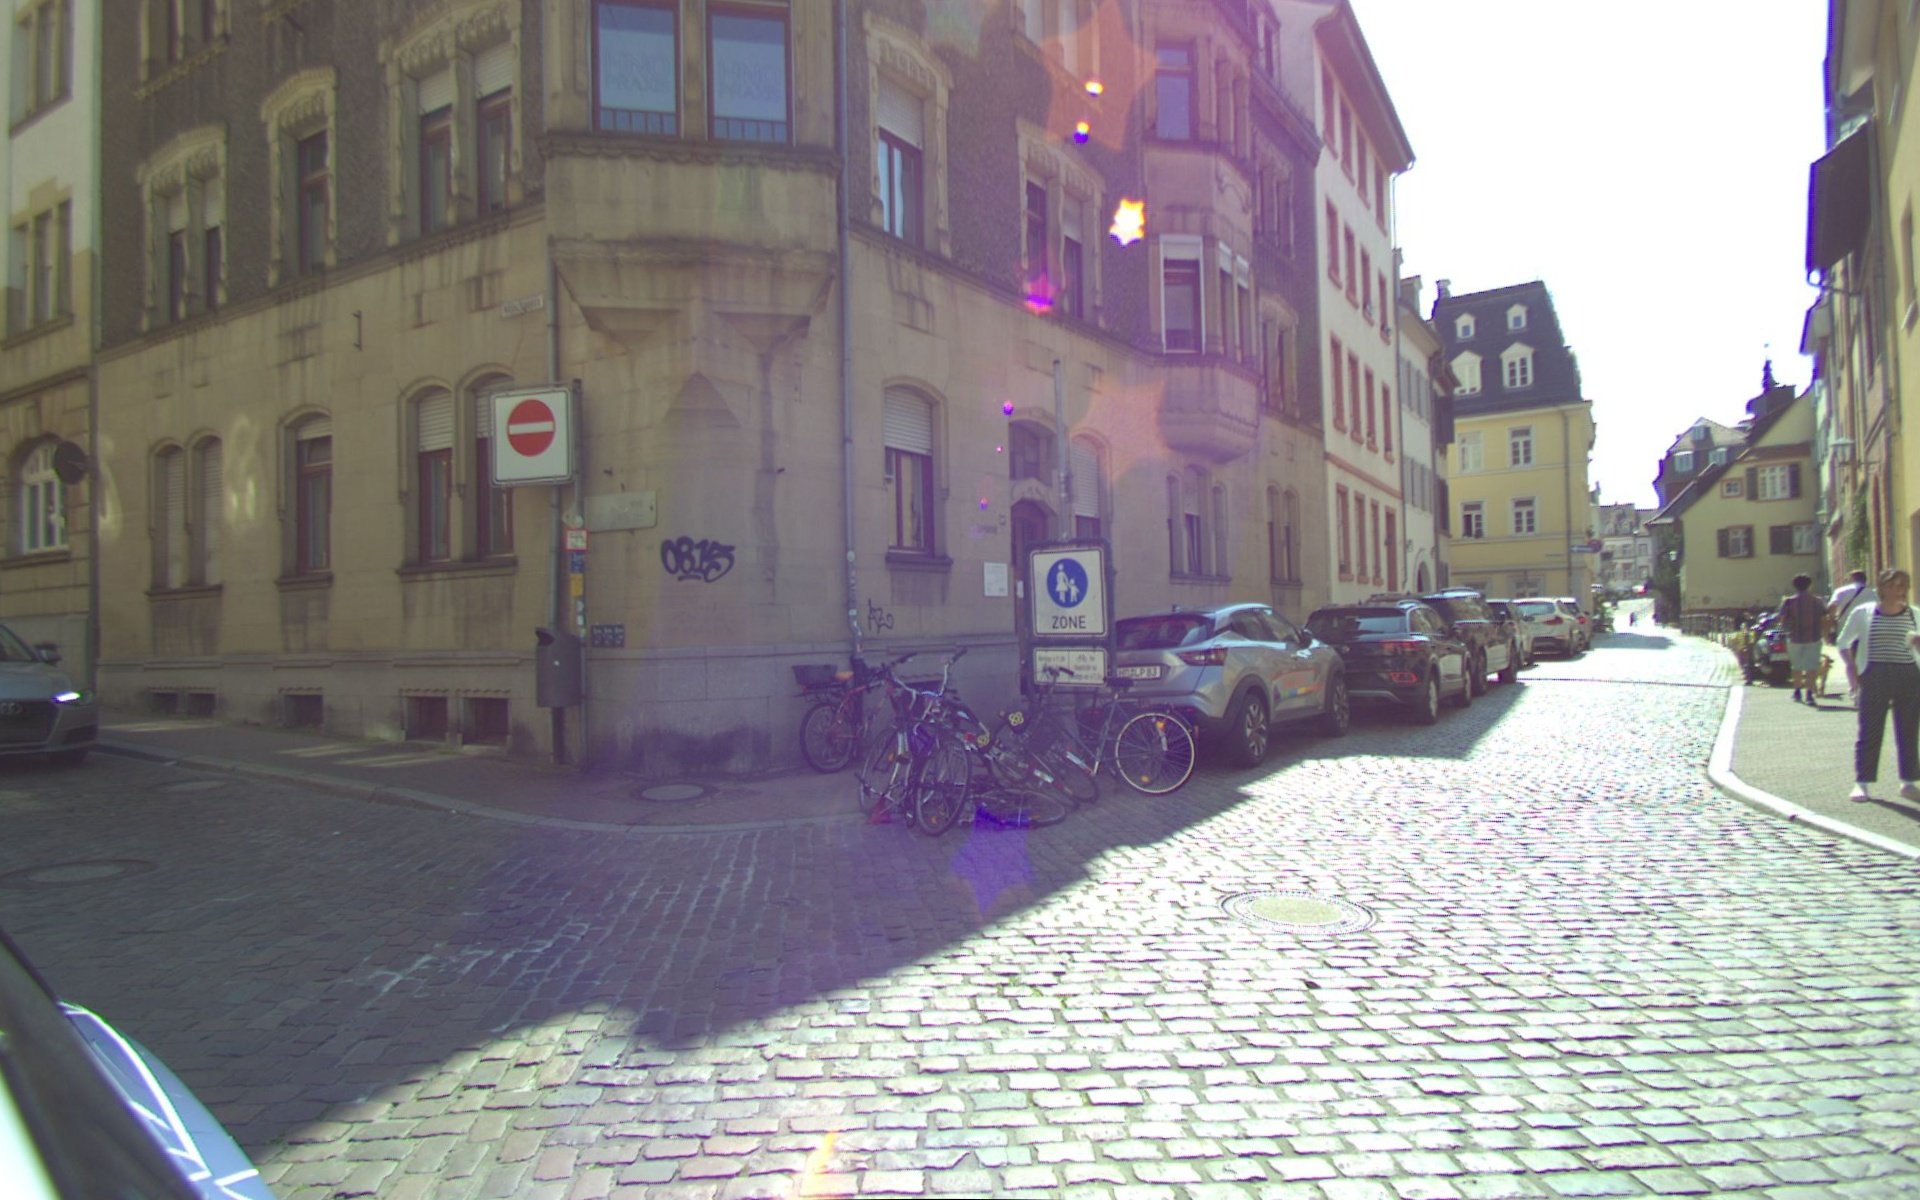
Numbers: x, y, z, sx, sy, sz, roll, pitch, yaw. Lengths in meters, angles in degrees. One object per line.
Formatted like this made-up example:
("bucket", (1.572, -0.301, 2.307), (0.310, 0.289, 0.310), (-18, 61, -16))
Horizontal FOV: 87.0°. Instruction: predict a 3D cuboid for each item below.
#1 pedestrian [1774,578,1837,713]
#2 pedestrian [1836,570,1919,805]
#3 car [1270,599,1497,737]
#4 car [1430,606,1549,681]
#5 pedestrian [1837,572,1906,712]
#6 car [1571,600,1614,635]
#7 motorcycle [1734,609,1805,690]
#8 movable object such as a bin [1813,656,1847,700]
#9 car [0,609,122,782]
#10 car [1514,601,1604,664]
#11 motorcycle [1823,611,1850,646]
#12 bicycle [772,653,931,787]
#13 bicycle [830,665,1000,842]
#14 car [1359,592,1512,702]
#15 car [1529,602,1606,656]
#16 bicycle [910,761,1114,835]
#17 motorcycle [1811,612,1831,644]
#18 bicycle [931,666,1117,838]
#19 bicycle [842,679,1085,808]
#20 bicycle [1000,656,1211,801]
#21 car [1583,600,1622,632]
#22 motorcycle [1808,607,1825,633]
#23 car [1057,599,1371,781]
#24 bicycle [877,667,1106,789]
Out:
("pedestrian", (11.469, 0.584, 13.737), (0.619, 1.757, 0.850), (1, 2, 40))
("pedestrian", (6.849, 0.606, 7.356), (0.690, 1.630, 0.746), (-2, -1, 41))
("car", (5.901, 0.802, 13.855), (1.850, 1.556, 3.948), (-1, 0, 39))
("car", (11.808, 0.902, 22.465), (1.661, 1.454, 3.811), (-1, 0, 38))
("pedestrian", (11.942, 0.510, 13.281), (0.619, 1.757, 0.850), (1, 2, 40))
("car", (38.145, 1.058, 61.007), (1.995, 2.029, 3.953), (-2, -2, 34))
("motorcycle", (13.726, 0.803, 17.213), (0.595, 1.258, 2.455), (-6, -3, 33))
("movable object such as a bin", (12.587, 1.115, 14.652), (0.300, 0.568, 1.227), (-2, -1, 38))
("car", (-10.238, 0.843, 9.799), (4.365, 1.503, 1.858), (0, -1, 30))
("car", (15.438, 0.792, 26.015), (1.566, 1.454, 3.598), (-1, 0, 38))
("motorcycle", (24.807, 0.795, 28.644), (0.385, 0.953, 1.338), (1, 1, 33))
("bicycle", (-0.996, 1.094, 9.657), (0.495, 1.094, 1.621), (3, 1, 38))
("bicycle", (-0.373, 1.048, 7.338), (0.281, 1.094, 1.646), (-4, 1, -38))
("car", (8.246, 0.707, 17.382), (1.566, 1.648, 3.812), (-1, 0, 38))
("car", (18.166, 0.816, 30.207), (1.566, 1.454, 3.598), (-1, 0, 38))
("bicycle", (0.382, 1.464, 7.626), (1.061, 0.290, 1.126), (0, -2, -38))
("motorcycle", (27.631, 0.888, 32.474), (0.385, 0.953, 1.336), (1, 1, 37))
("bicycle", (0.467, 1.158, 8.167), (0.365, 1.094, 1.743), (2, 1, -40))
("bicycle", (0.029, 1.103, 7.832), (1.634, 1.080, 0.287), (-1, 42, 28))
("bicycle", (1.179, 1.055, 8.318), (1.625, 1.094, 0.285), (-4, -4, 11))
("car", (42.877, 1.091, 67.521), (1.995, 2.029, 3.953), (-2, -2, 34))
("motorcycle", (32.980, 0.767, 38.985), (0.385, 0.953, 1.552), (1, 1, 36))
("car", (2.854, 0.814, 10.770), (1.850, 1.556, 3.879), (-2, -2, 37))
("bicycle", (0.263, 1.039, 8.266), (1.634, 1.080, 0.287), (-1, 42, 28))
